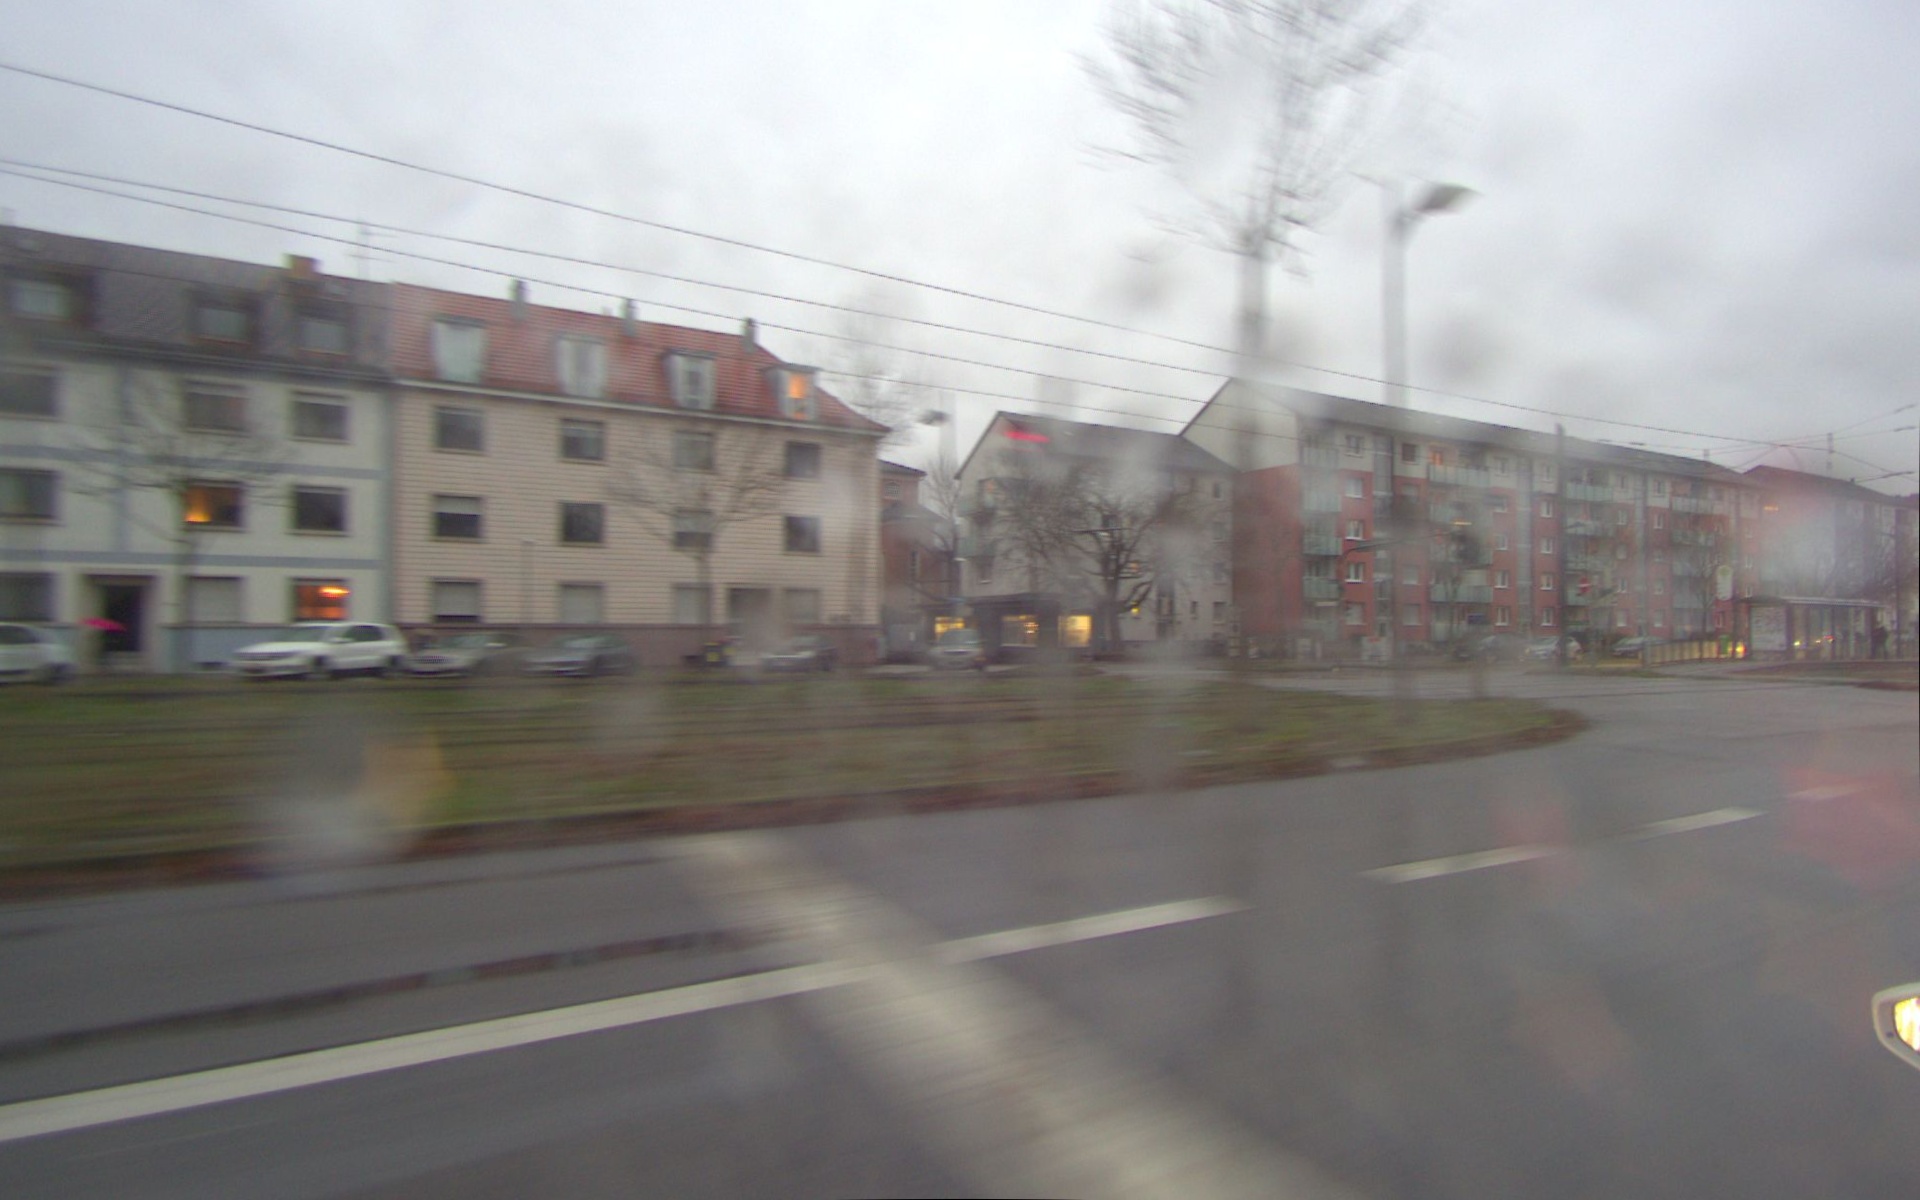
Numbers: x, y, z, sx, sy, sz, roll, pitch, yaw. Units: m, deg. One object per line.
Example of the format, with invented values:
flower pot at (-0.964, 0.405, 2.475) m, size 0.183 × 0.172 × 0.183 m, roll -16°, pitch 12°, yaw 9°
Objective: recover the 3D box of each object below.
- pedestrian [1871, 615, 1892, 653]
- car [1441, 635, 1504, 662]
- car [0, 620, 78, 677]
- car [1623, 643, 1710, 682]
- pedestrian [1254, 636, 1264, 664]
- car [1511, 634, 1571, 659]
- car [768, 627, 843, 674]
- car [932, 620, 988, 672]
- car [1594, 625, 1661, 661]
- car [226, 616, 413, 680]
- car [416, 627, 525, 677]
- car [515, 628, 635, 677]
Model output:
pedestrian at (40.319, 1.486, 43.960) m, size 0.455 × 1.678 × 0.494 m, roll 1°, pitch 0°, yaw -14°
car at (27.258, 2.549, 53.404) m, size 3.347 × 1.304 × 1.437 m, roll 1°, pitch 0°, yaw -31°
car at (-21.601, 1.079, 21.888) m, size 1.658 × 1.163 × 3.419 m, roll 1°, pitch 0°, yaw 2°
car at (27.704, 2.428, 39.382) m, size 3.595 × 1.360 × 1.437 m, roll 1°, pitch 0°, yaw -31°
pedestrian at (13.194, 2.198, 44.331) m, size 0.339 × 1.200 × 0.434 m, roll 1°, pitch 0°, yaw 20°
car at (32.517, 2.558, 56.180) m, size 3.347 × 1.304 × 1.437 m, roll 1°, pitch 0°, yaw -31°
car at (-4.888, 1.576, 32.200) m, size 1.424 × 1.355 × 3.770 m, roll 0°, pitch -1°, yaw 6°
car at (0.045, 1.559, 34.909) m, size 1.707 × 1.576 × 3.799 m, roll 1°, pitch 0°, yaw 3°
car at (40.378, 2.568, 60.730) m, size 3.958 × 2.040 × 1.981 m, roll 1°, pitch 0°, yaw -34°
car at (-16.062, 1.150, 25.454) m, size 1.737 × 1.397 × 4.126 m, roll 1°, pitch 0°, yaw 7°
car at (-13.077, 1.365, 27.005) m, size 1.369 × 1.163 × 3.045 m, roll 1°, pitch 0°, yaw 1°
car at (-10.699, 1.426, 28.254) m, size 1.648 × 1.131 × 4.190 m, roll 1°, pitch 0°, yaw 1°
